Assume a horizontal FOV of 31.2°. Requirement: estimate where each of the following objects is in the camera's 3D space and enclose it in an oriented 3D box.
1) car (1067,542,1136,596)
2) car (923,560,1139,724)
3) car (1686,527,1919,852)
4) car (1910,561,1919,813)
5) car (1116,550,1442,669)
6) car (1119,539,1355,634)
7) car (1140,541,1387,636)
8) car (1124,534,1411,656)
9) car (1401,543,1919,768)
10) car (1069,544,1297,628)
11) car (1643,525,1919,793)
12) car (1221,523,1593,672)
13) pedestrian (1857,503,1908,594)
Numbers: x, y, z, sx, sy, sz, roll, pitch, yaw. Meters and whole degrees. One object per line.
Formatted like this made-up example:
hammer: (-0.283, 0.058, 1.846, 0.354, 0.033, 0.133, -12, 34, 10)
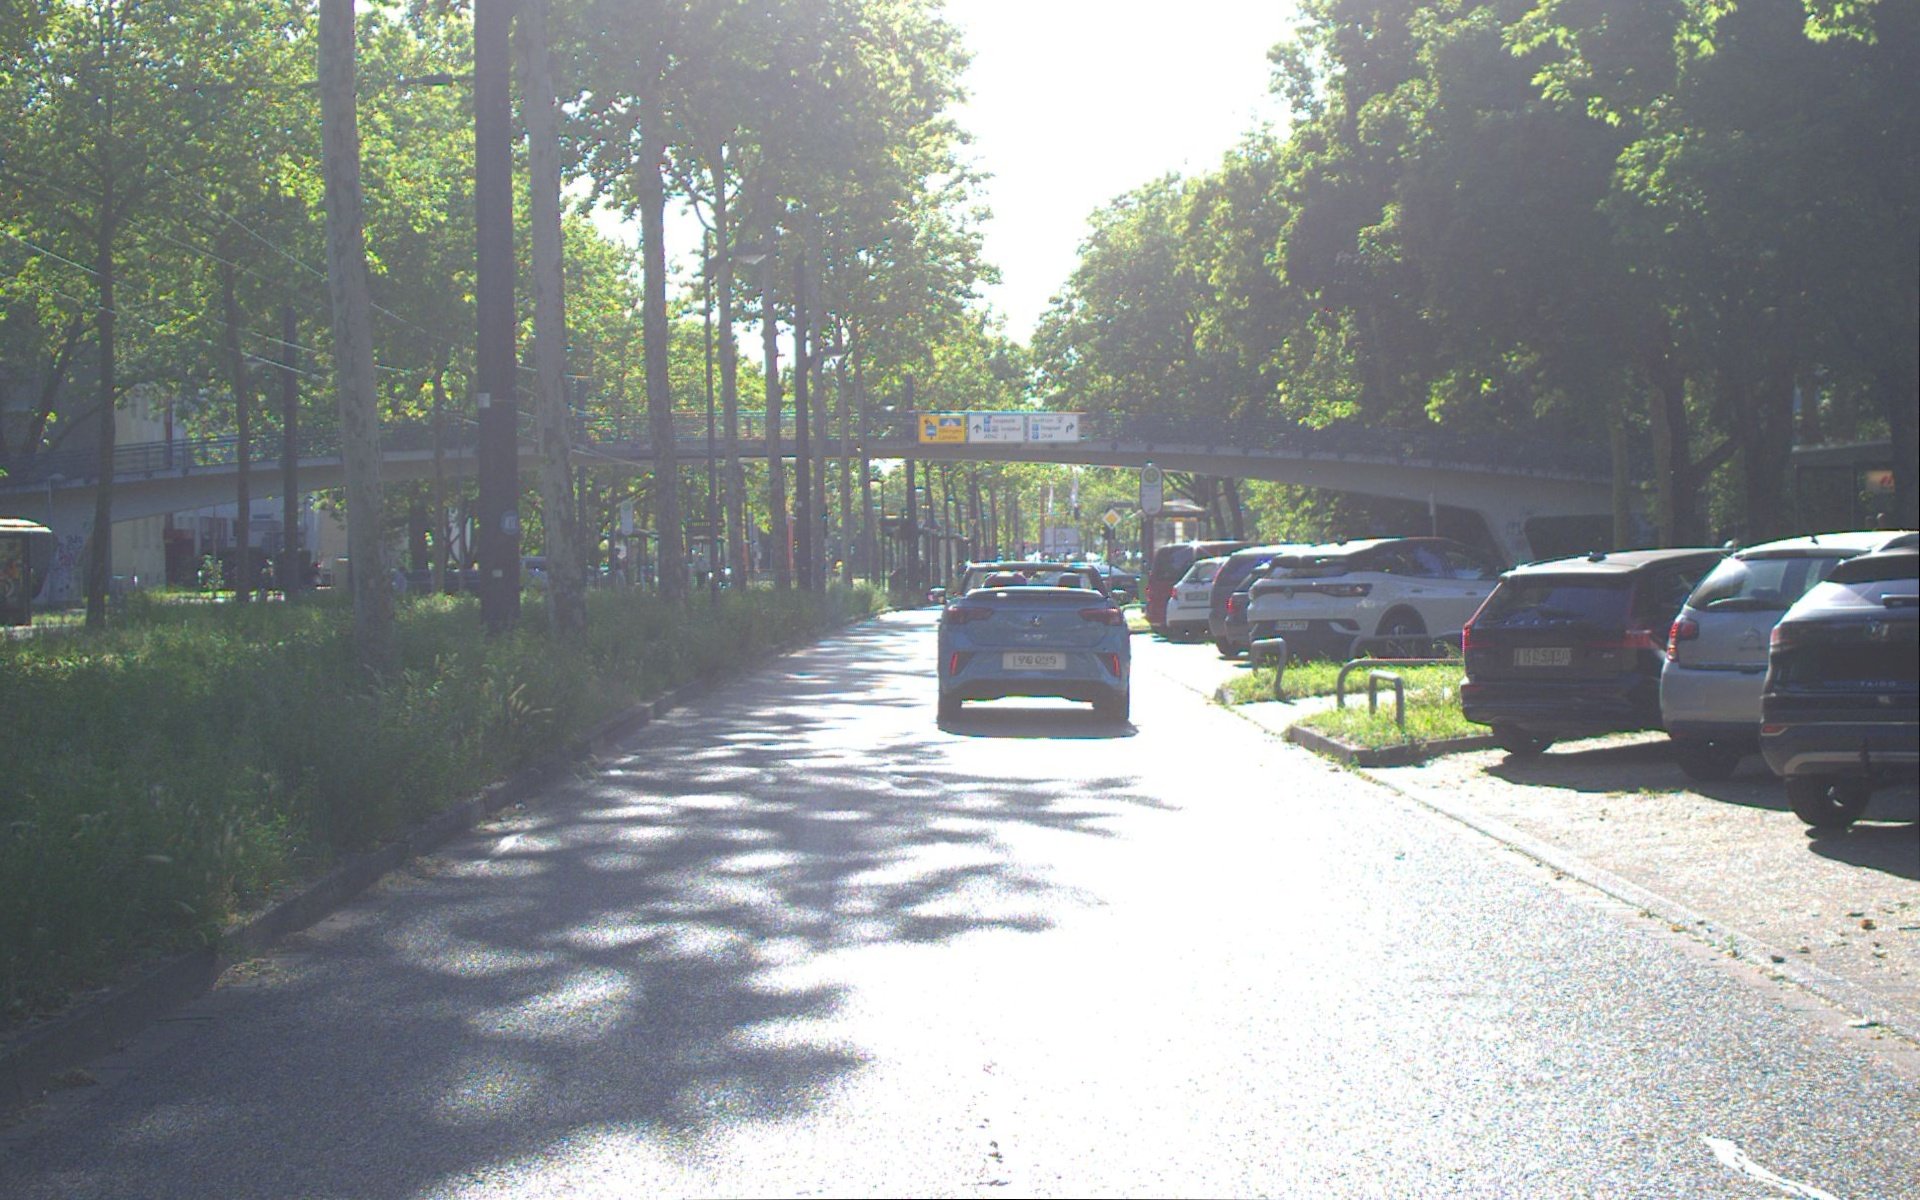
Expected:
car: (4.432, -0.990, 108.030, 1.993, 1.645, 4.000, 1, 1, 0)
car: (0.657, 0.353, 32.807, 1.922, 1.406, 4.000, 0, 1, 1)
car: (6.043, 0.369, 18.704, 1.855, 1.564, 4.612, -1, 2, 45)
car: (6.127, 0.477, 14.805, 4.450, 1.445, 1.919, -2, 0, -45)
car: (4.442, 0.093, 47.428, 4.612, 1.516, 1.856, -2, 1, -43)
car: (5.333, -0.272, 65.823, 4.611, 1.762, 1.856, 0, 1, -43)
car: (5.574, -0.226, 62.840, 4.611, 1.674, 1.856, 0, 1, -43)
car: (4.659, -0.096, 51.594, 1.855, 1.674, 4.599, -2, 0, 42)
car: (5.418, 0.337, 25.187, 1.978, 1.454, 4.613, 0, 1, 44)
car: (4.476, -0.290, 68.558, 4.611, 1.608, 1.856, 0, 1, -43)
car: (6.582, 0.295, 22.382, 4.612, 1.564, 1.856, -2, 1, -44)
car: (5.379, -0.053, 40.986, 4.611, 1.674, 1.856, 0, 1, -43)
pedestrian: (20.484, -1.140, 76.315, 0.819, 2.007, 0.750, -1, 1, -40)
